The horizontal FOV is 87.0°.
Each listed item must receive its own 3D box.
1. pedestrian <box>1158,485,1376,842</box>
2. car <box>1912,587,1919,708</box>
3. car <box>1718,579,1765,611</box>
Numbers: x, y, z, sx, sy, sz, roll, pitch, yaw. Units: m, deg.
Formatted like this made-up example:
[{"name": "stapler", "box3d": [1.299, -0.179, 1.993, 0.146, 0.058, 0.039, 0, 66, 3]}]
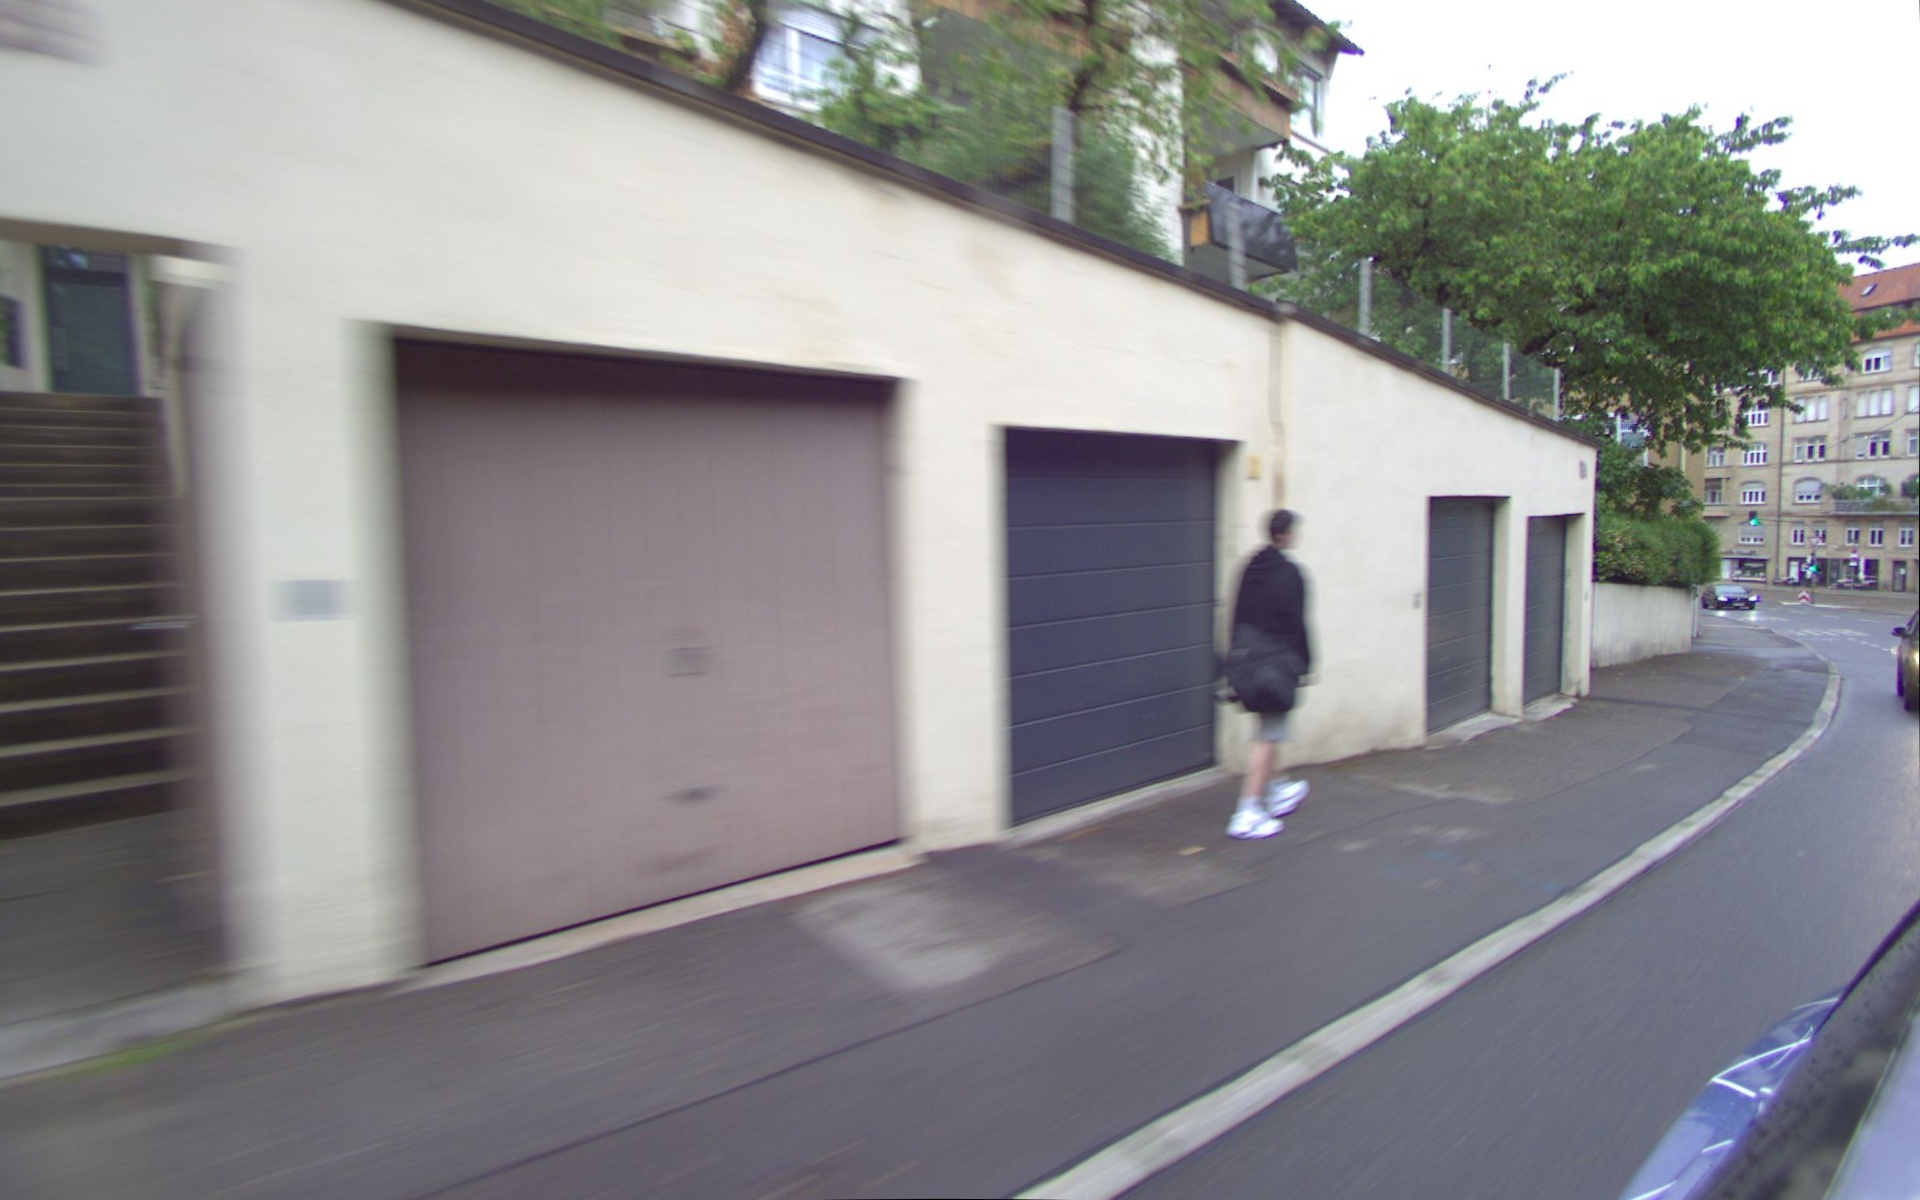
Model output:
[{"name": "pedestrian", "box3d": [1.779, 0.314, 5.897, 0.789, 1.873, 0.901, 0, 2, -40]}, {"name": "car", "box3d": [13.847, 0.536, 13.326, 3.934, 1.483, 1.694, -2, 0, -44]}, {"name": "car", "box3d": [44.795, -0.301, 58.091, 1.885, 1.717, 3.951, -1, 0, 35]}]
